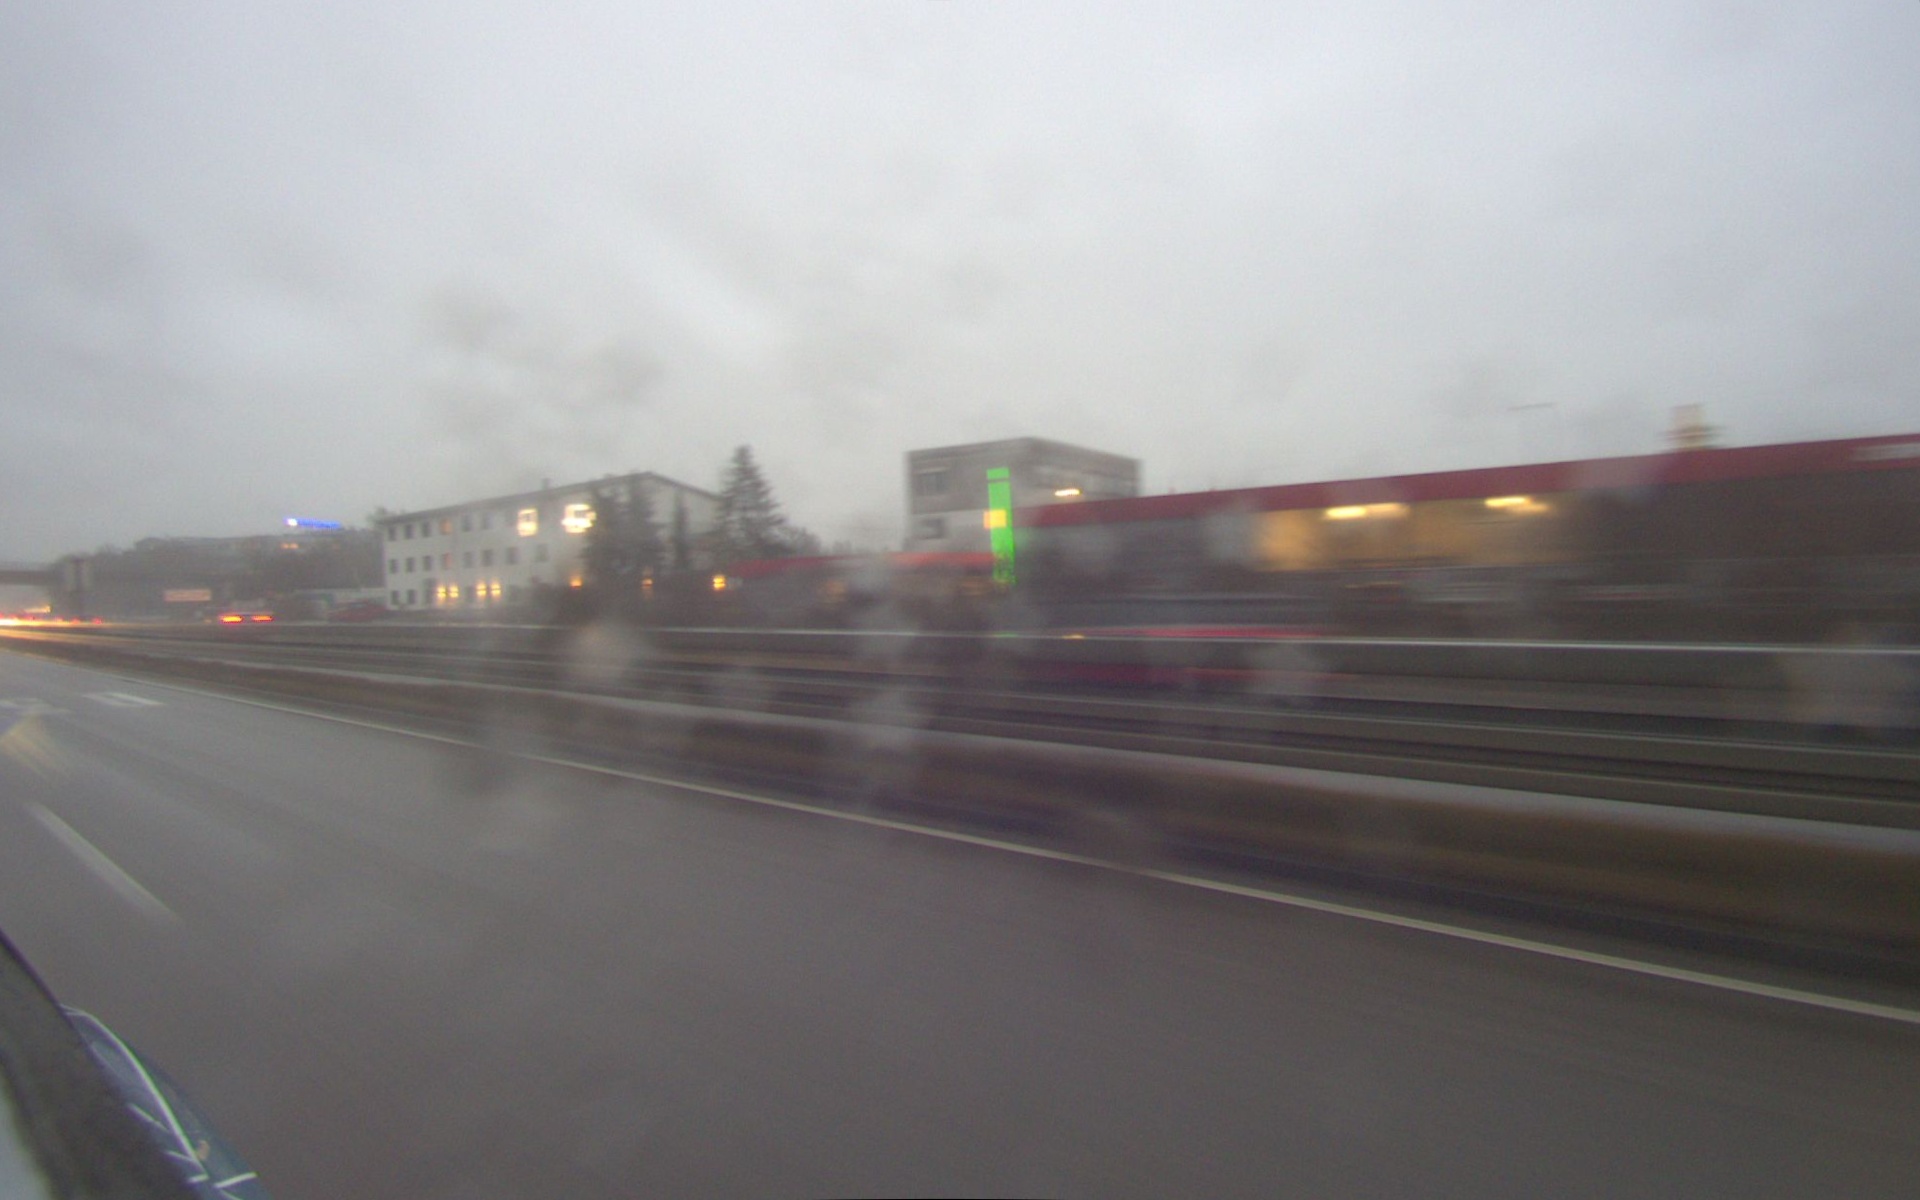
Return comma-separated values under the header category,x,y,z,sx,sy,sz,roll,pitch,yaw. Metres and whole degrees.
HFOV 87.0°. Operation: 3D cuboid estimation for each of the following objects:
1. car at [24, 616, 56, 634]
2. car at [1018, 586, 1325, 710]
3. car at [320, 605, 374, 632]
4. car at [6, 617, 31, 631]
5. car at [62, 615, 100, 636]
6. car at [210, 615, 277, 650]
category,x,y,z,sx,sy,sz,roll,pitch,yaw
car,-82.068,2.198,90.265,3.999,1.519,1.718,-1,1,42
car,2.933,0.605,14.545,3.999,1.519,1.718,-1,1,42
car,-48.459,1.449,79.963,4.956,2.029,2.133,-1,0,40
car,-106.558,2.684,114.545,3.999,1.519,1.718,-1,1,42
car,-67.984,1.986,78.215,3.999,1.519,1.718,-1,1,42
car,-33.428,1.480,47.192,3.999,1.519,1.718,-1,1,42
